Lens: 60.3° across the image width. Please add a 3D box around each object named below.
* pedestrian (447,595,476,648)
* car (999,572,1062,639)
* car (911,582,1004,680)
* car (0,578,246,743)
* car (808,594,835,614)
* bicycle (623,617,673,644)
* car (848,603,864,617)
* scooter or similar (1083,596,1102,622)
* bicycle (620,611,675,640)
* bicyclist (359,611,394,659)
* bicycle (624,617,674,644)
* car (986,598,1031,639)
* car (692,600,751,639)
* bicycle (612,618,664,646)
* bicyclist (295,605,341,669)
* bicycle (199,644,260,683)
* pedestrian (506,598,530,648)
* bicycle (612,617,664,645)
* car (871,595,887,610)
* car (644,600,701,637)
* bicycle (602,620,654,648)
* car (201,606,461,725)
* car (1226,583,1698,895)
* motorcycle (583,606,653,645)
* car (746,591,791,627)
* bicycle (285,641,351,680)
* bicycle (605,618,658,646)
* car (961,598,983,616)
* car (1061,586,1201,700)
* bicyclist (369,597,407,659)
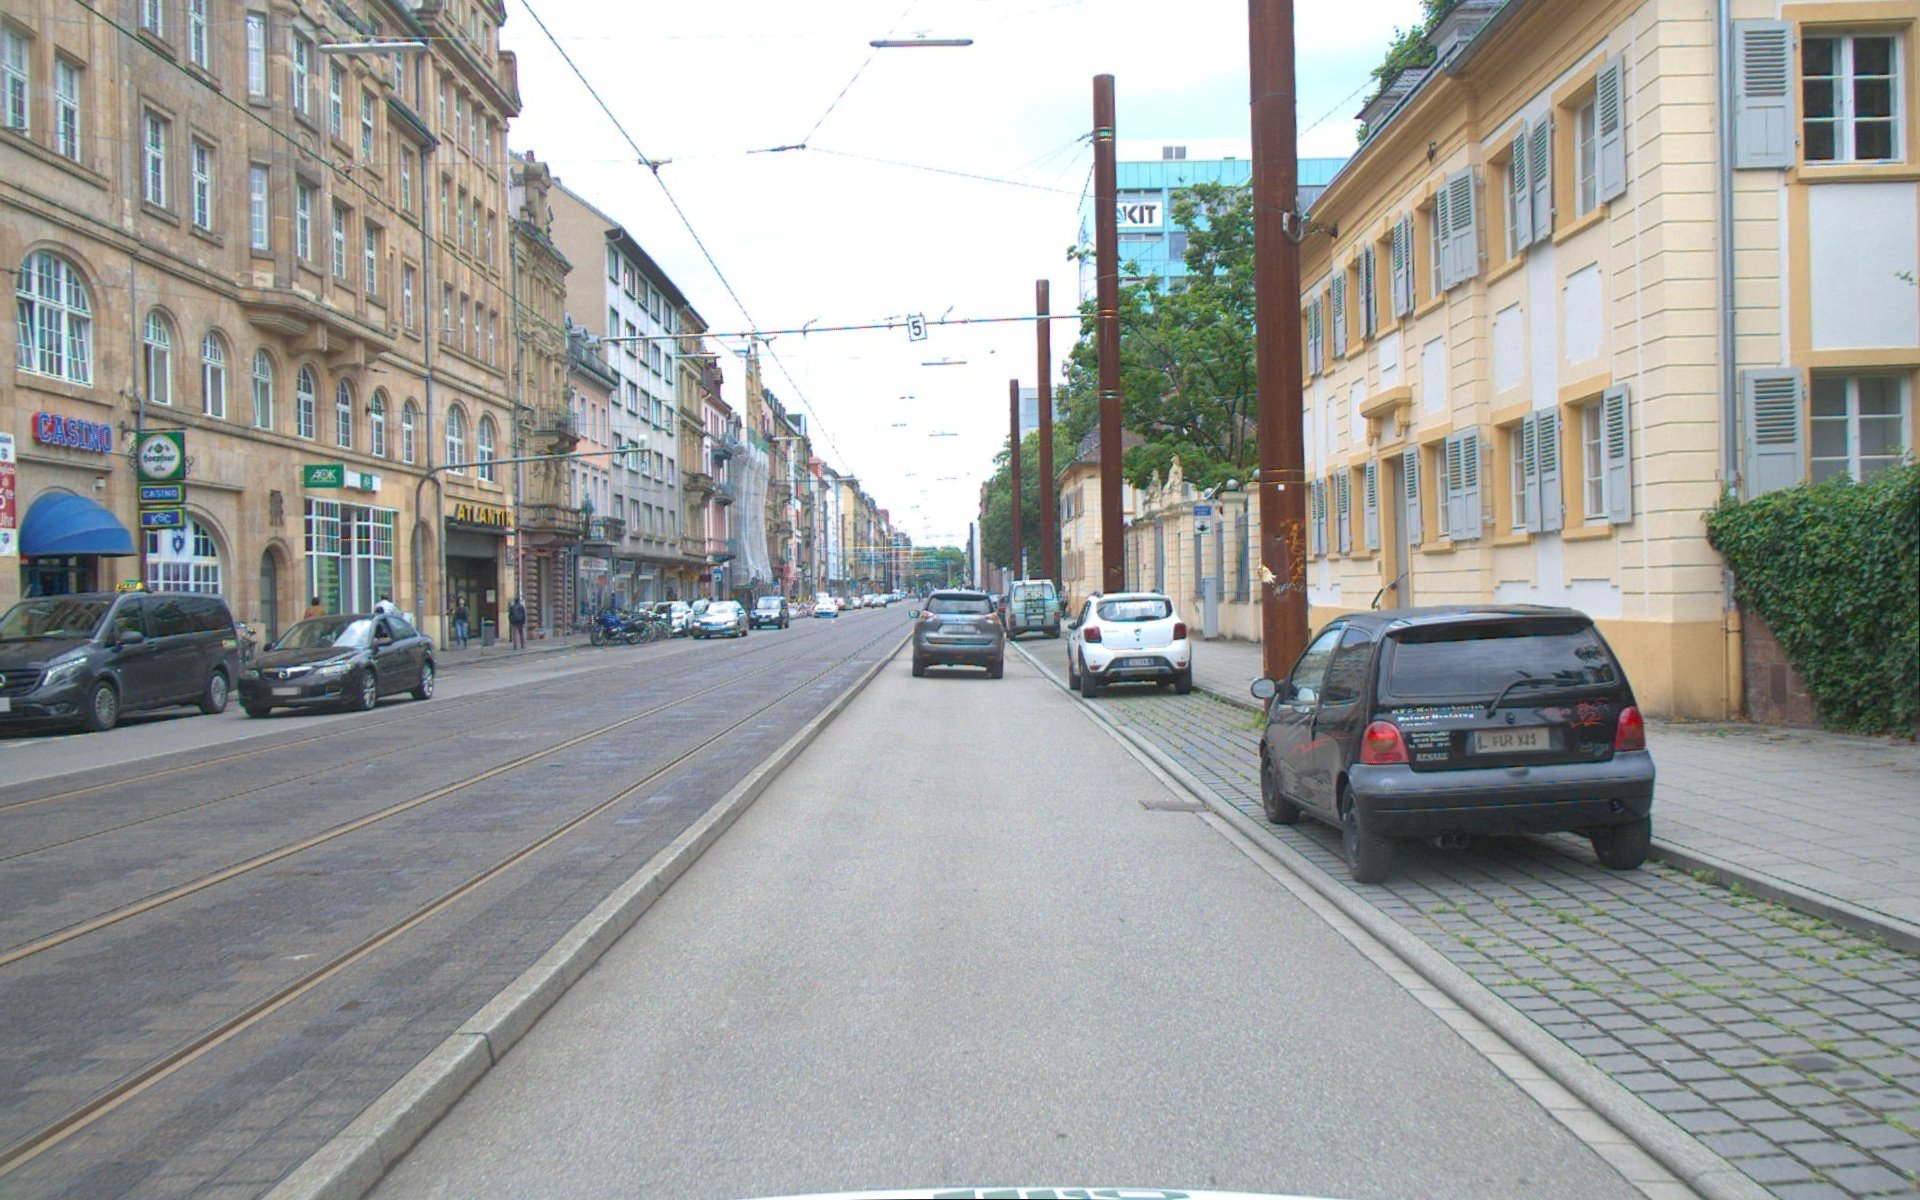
[{"bbox_3d":[-15.677,0.680,52.061,0.671,1.641,0.742,-1,0,-1],"label":"pedestrian"},{"bbox_3d":[2.445,0.180,58.362,1.814,2.151,4.983,-4,0,-1],"label":"car"},{"bbox_3d":[-0.066,0.583,33.367,1.714,1.786,3.923,2,0,-1],"label":"car"},{"bbox_3d":[-12.136,0.788,23.338,1.861,2.011,5.096,-4,0,-1],"label":"car"},{"bbox_3d":[-10.383,0.306,123.965,1.653,1.445,4.134,-1,0,-1],"label":"car"},{"bbox_3d":[-12.493,1.234,66.234,1.929,1.018,0.462,-1,0,-8],"label":"bicycle"},{"bbox_3d":[-12.992,1.272,207.051,1.954,1.664,3.997,-1,-1,-4],"label":"car"},{"bbox_3d":[6.417,0.446,80.198,0.731,1.272,1.919,-1,-1,-1],"label":"scooter or similar"},{"bbox_3d":[-12.880,1.042,68.279,2.189,1.146,0.503,-1,0,-8],"label":"bicycle"},{"bbox_3d":[-14.219,0.844,40.311,0.598,1.137,0.659,-1,0,-1],"label":"bicyclist"},{"bbox_3d":[-12.538,1.240,66.779,1.929,1.018,0.462,-1,0,-8],"label":"bicycle"},{"bbox_3d":[2.099,0.801,72.681,1.714,1.623,3.923,-4,0,-1],"label":"car"},{"bbox_3d":[-9.573,0.770,66.676,1.723,1.474,4.614,-1,0,0],"label":"car"},{"bbox_3d":[-12.491,1.226,64.209,1.929,1.018,0.462,-1,0,-8],"label":"bicycle"},{"bbox_3d":[-13.984,0.795,36.052,0.598,1.347,0.972,-1,0,-1],"label":"bicyclist"},{"bbox_3d":[-15.899,1.378,36.019,0.570,0.758,1.706,-1,0,0],"label":"bicycle"},{"bbox_3d":[-14.384,0.742,53.788,0.556,1.626,0.718,-1,0,-1],"label":"pedestrian"},{"bbox_3d":[-12.599,1.211,64.719,1.929,1.018,0.462,-1,0,-8],"label":"bicycle"},{"bbox_3d":[-10.105,0.323,205.335,1.954,1.664,3.997,-1,-1,-4],"label":"car"},{"bbox_3d":[-12.453,0.769,71.832,1.740,1.531,4.401,-1,0,-1],"label":"car"},{"bbox_3d":[-12.467,1.275,62.165,1.885,1.018,0.462,-1,0,-8],"label":"bicycle"},{"bbox_3d":[-9.327,0.908,24.993,1.789,1.458,4.669,-4,0,4],"label":"car"},{"bbox_3d":[2.831,0.691,10.250,1.604,1.458,3.930,-4,0,-1],"label":"car"},{"bbox_3d":[-12.450,0.919,60.212,2.319,1.325,0.872,-1,0,-37],"label":"motorcycle"},{"bbox_3d":[-9.658,0.433,83.516,1.723,1.701,4.614,-1,0,0],"label":"car"},{"bbox_3d":[-13.974,1.299,36.067,0.570,0.758,2.250,-1,0,0],"label":"bicycle"},{"bbox_3d":[-12.503,1.213,62.924,1.929,1.018,0.462,-1,0,-8],"label":"bicycle"},{"bbox_3d":[1.001,0.611,139.814,1.740,1.445,4.134,-1,0,-1],"label":"car"},{"bbox_3d":[2.684,0.641,26.728,1.720,1.601,3.930,-4,0,-1],"label":"car"},{"bbox_3d":[-14.228,0.681,41.140,0.598,1.514,0.972,-1,0,-1],"label":"bicyclist"}]
